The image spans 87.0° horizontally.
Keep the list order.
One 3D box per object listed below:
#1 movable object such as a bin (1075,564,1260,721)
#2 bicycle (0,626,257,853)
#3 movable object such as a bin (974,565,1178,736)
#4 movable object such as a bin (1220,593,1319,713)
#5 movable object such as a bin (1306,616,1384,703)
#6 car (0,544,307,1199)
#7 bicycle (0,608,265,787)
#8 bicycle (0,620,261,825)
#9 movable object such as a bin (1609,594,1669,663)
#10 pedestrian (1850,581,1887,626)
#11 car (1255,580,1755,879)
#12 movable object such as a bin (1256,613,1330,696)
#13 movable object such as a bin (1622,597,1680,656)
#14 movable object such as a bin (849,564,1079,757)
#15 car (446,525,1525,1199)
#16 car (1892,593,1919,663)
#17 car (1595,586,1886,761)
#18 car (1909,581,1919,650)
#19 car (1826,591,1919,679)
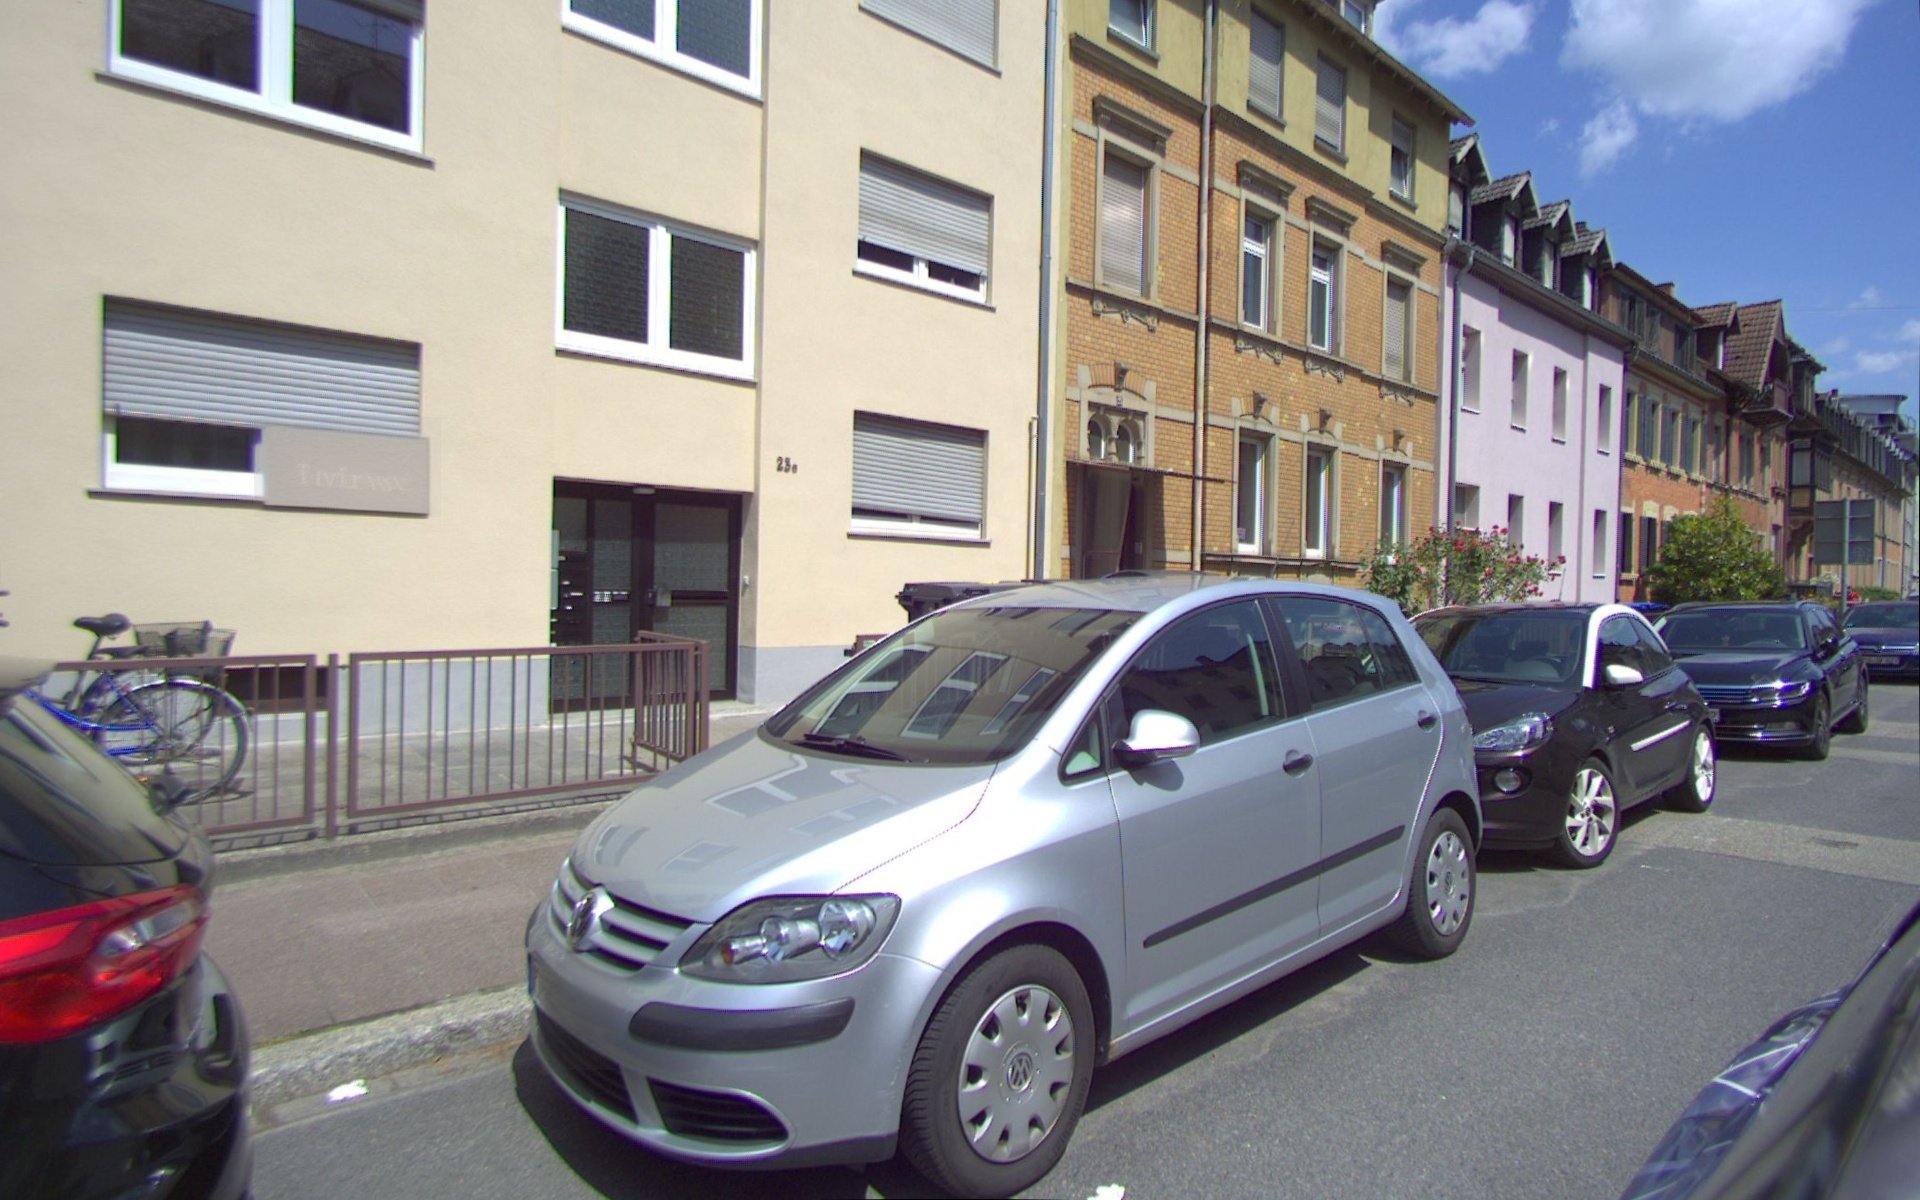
[{"bbox_3d":[2.073,0.371,10.141,1.282,1.428,1.285,0,1,-40],"label":"movable object such as a bin"},{"bbox_3d":[-4.378,0.639,4.858,1.597,0.995,0.553,0,0,-30],"label":"bicycle"},{"bbox_3d":[1.058,0.398,9.282,1.340,1.413,1.285,0,1,-40],"label":"movable object such as a bin"},{"bbox_3d":[3.303,0.538,10.817,0.734,1.203,0.722,0,1,-42],"label":"movable object such as a bin"},{"bbox_3d":[4.463,0.669,11.728,0.601,0.940,0.625,0,1,-42],"label":"movable object such as a bin"},{"bbox_3d":[-2.961,0.697,0.863,3.862,1.498,1.760,0,-1,-40],"label":"car"},{"bbox_3d":[-5.326,0.559,6.274,0.551,0.995,1.604,1,1,44],"label":"bicycle"},{"bbox_3d":[-4.713,0.615,5.373,1.597,0.995,0.553,0,0,-30],"label":"bicycle"},{"bbox_3d":[12.960,0.520,19.316,0.862,1.257,0.752,0,1,-42],"label":"movable object such as a bin"},{"bbox_3d":[39.160,0.143,43.640,0.964,1.885,1.056,0,1,-41],"label":"pedestrian"},{"bbox_3d":[3.916,0.660,7.011,3.862,1.498,1.760,0,-1,-40],"label":"car"},{"bbox_3d":[4.010,0.635,12.190,0.601,0.940,0.625,0,1,-42],"label":"movable object such as a bin"},{"bbox_3d":[13.571,0.501,19.877,0.862,1.111,0.752,0,1,-42],"label":"movable object such as a bin"},{"bbox_3d":[0.028,0.425,8.346,1.388,1.413,1.285,0,1,-40],"label":"movable object such as a bin"},{"bbox_3d":[0.420,0.654,3.886,3.994,1.571,1.760,0,-1,-40],"label":"car"},{"bbox_3d":[22.140,0.585,22.499,3.863,1.498,1.706,0,-1,-42],"label":"car"},{"bbox_3d":[8.477,0.643,10.843,4.344,1.498,1.759,0,-1,-43],"label":"car"},{"bbox_3d":[26.103,0.378,26.334,3.863,1.732,1.706,0,-1,-42],"label":"car"},{"bbox_3d":[17.519,0.605,18.770,3.863,1.498,1.706,0,-1,-42],"label":"car"}]
